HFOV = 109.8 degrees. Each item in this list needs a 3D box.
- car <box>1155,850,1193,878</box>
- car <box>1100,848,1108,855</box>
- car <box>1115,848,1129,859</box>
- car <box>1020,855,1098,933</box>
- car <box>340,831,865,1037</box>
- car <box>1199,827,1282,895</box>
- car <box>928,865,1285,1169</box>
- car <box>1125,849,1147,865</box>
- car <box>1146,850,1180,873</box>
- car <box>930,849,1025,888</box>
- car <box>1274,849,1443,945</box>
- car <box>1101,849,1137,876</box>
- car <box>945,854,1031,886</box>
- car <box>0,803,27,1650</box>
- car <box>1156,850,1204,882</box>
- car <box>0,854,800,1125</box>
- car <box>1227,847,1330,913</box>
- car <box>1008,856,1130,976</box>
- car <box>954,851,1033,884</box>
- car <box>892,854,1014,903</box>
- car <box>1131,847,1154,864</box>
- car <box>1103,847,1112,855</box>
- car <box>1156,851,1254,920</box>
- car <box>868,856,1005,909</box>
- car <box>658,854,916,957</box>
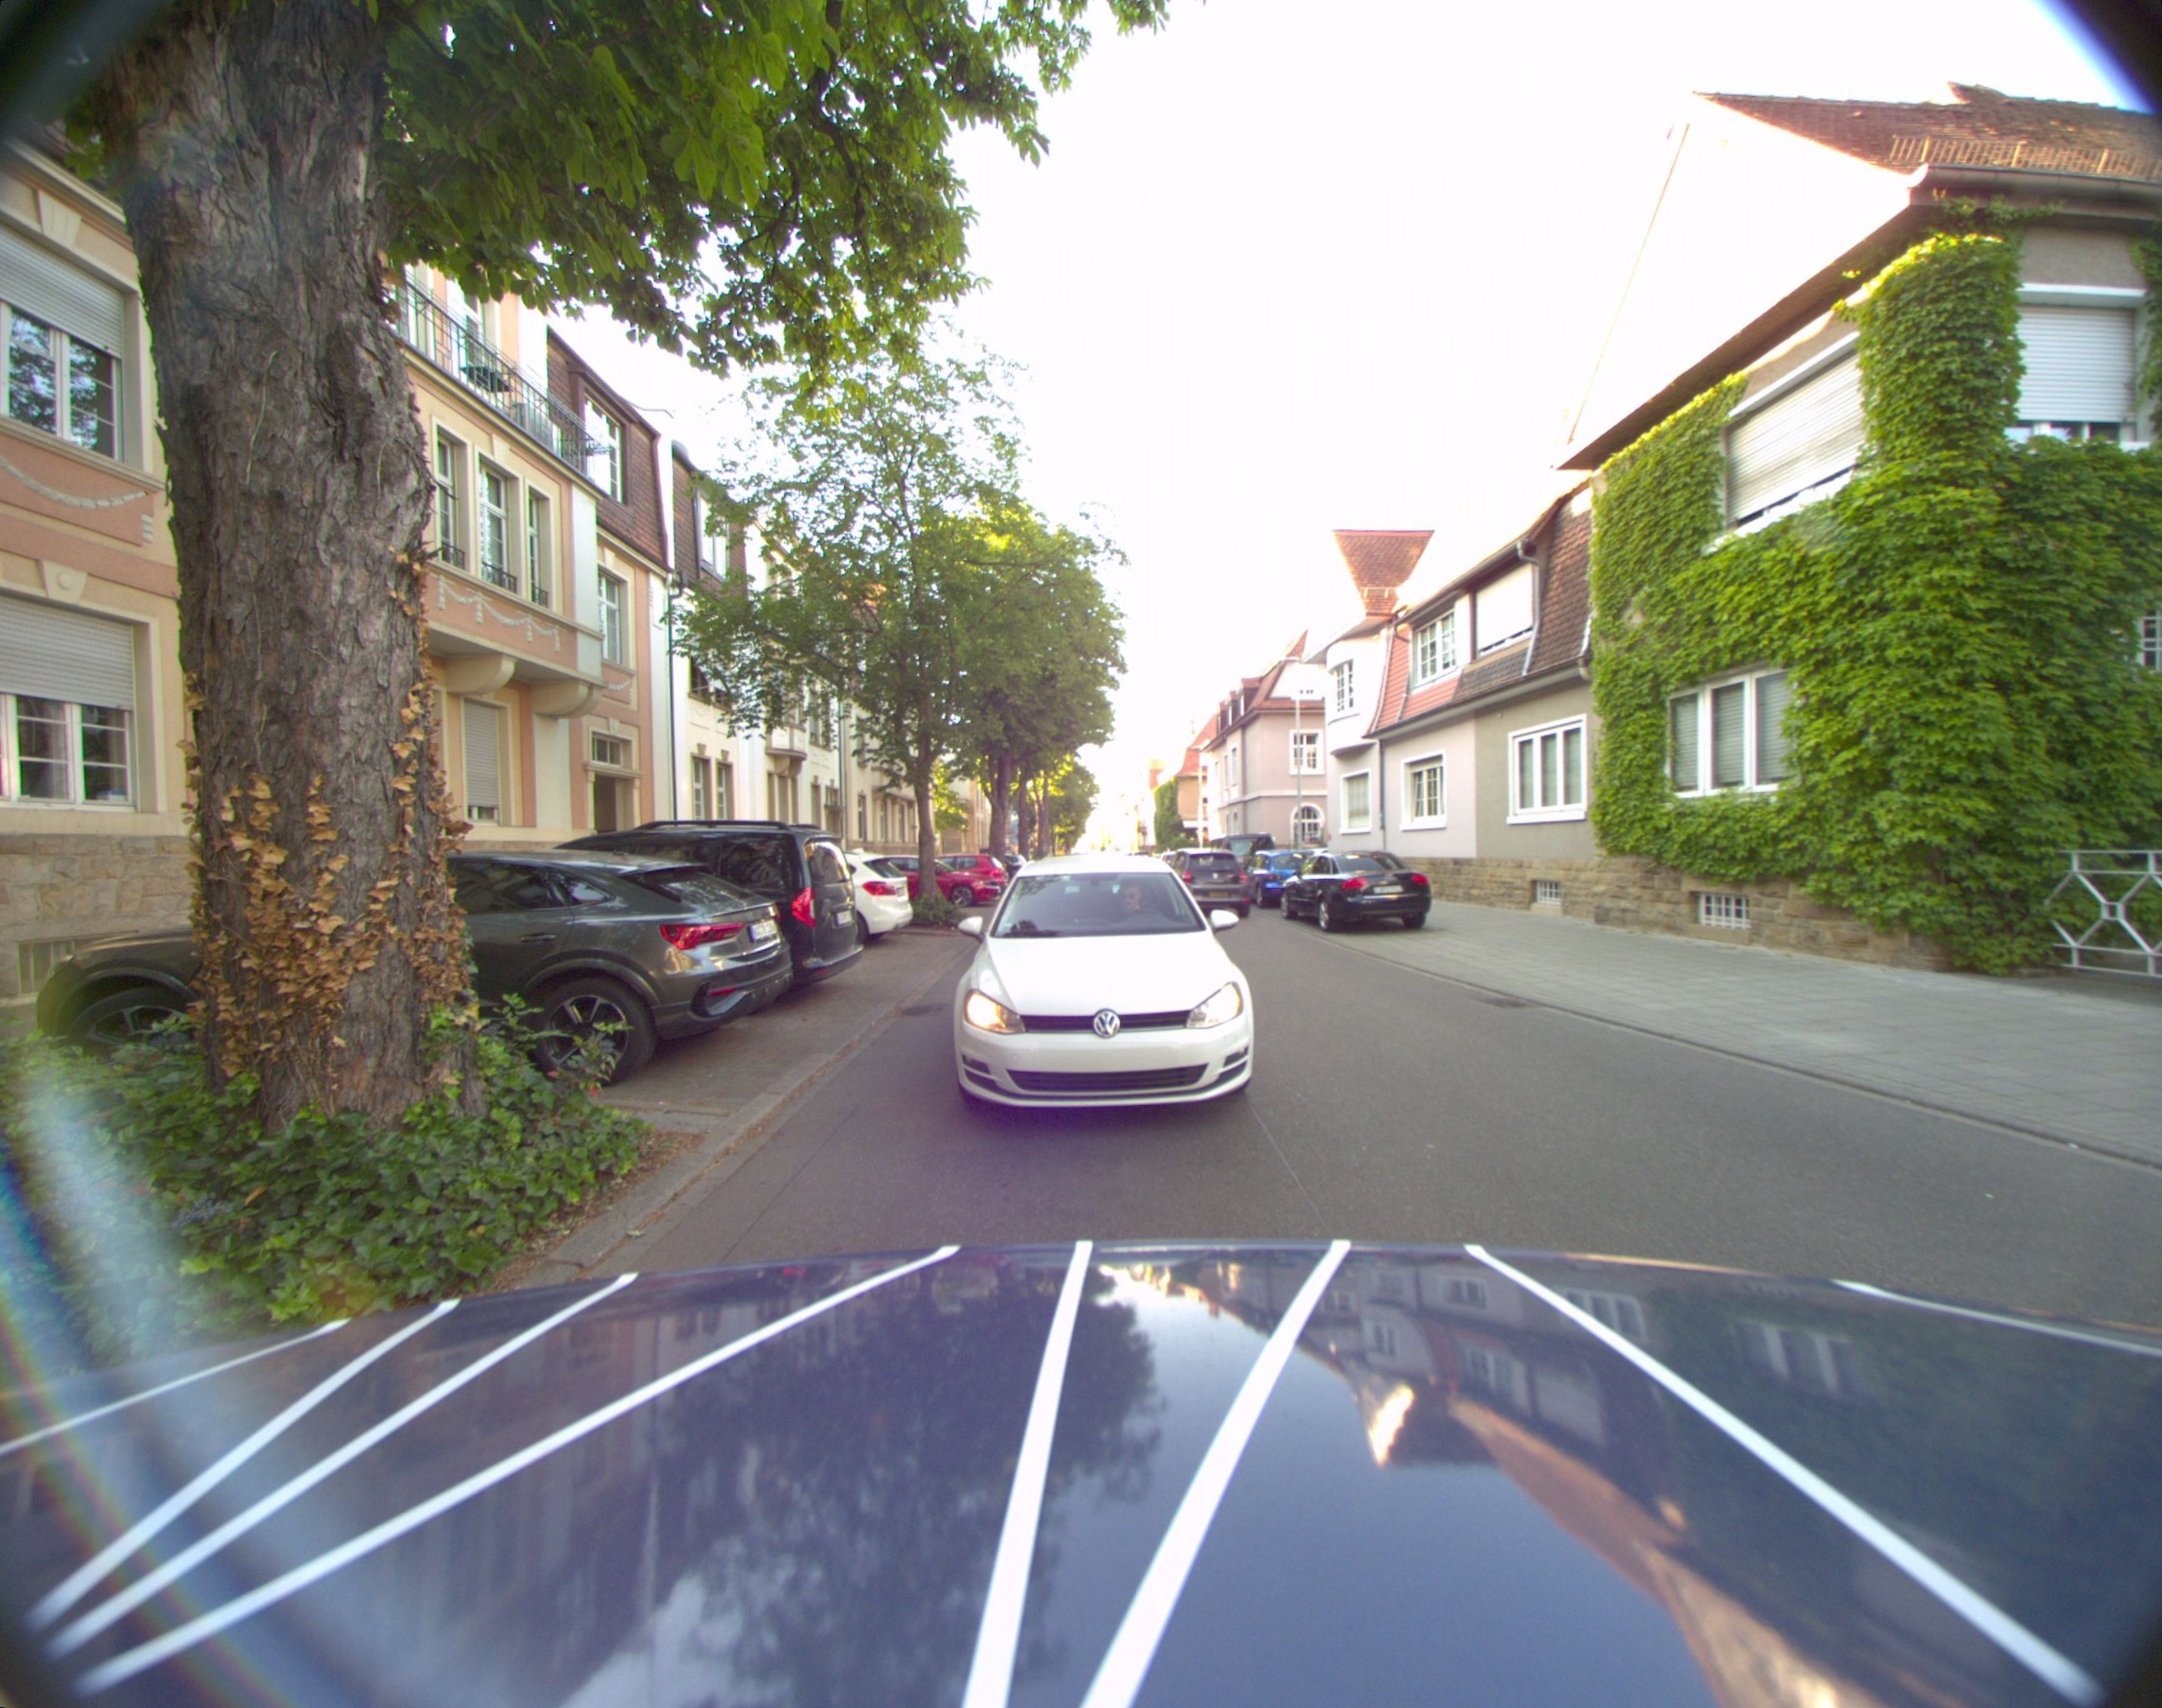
[{"bbox_3d":[5.129,0.526,42.209,1.541,1.363,3.945,-3,0,0],"label":"car"},{"bbox_3d":[5.148,-0.565,173.140,1.643,1.461,3.689,-3,1,0],"label":"car"},{"bbox_3d":[5.456,-0.071,100.802,1.643,1.461,3.689,-3,1,0],"label":"car"},{"bbox_3d":[-0.418,0.805,17.153,1.560,1.546,3.738,1,0,1],"label":"car"},{"bbox_3d":[-4.464,0.711,7.618,4.173,1.816,1.594,1,1,-4],"label":"car"},{"bbox_3d":[5.220,0.185,25.432,1.719,1.961,4.310,-4,1,0],"label":"car"},{"bbox_3d":[0.097,0.872,5.952,1.799,1.420,4.023,-2,0,-1],"label":"car"},{"bbox_3d":[5.419,0.275,75.336,1.643,1.461,3.688,-3,1,-4],"label":"car"},{"bbox_3d":[5.447,0.455,50.723,1.719,1.363,3.945,-3,0,0],"label":"car"},{"bbox_3d":[-4.169,0.572,30.967,3.622,1.555,1.537,0,1,0],"label":"car"},{"bbox_3d":[5.079,0.697,14.516,1.751,1.421,4.023,-4,1,1],"label":"car"},{"bbox_3d":[2.177,0.500,44.623,1.786,1.453,4.299,1,0,-1],"label":"car"},{"bbox_3d":[-4.138,0.717,34.095,3.622,1.395,1.537,0,1,0],"label":"car"},{"bbox_3d":[-4.661,0.796,0.540,4.835,1.814,1.880,1,1,-4],"label":"car"},{"bbox_3d":[4.794,0.548,37.322,1.719,1.363,4.334,-3,0,0],"label":"car"},{"bbox_3d":[-4.387,0.824,5.436,4.173,1.583,1.594,1,1,-4],"label":"car"},{"bbox_3d":[5.157,0.600,20.356,1.611,1.455,4.023,-4,1,0],"label":"car"},{"bbox_3d":[-0.137,0.834,12.093,1.600,1.546,4.000,1,0,1],"label":"car"},{"bbox_3d":[-4.198,0.635,36.874,3.622,1.555,1.537,0,1,0],"label":"car"},{"bbox_3d":[-4.041,0.760,24.364,3.622,1.456,1.537,1,1,0],"label":"car"},{"bbox_3d":[5.491,0.120,68.297,1.643,1.461,3.945,-3,0,0],"label":"car"},{"bbox_3d":[5.237,-0.578,149.436,1.643,1.461,3.689,-3,1,0],"label":"car"},{"bbox_3d":[2.872,0.681,18.358,1.620,1.493,3.591,1,1,-3],"label":"car"},{"bbox_3d":[-4.084,0.794,21.809,3.622,1.395,1.537,1,1,0],"label":"car"},{"bbox_3d":[-4.660,0.799,12.427,3.623,1.541,1.537,1,1,-4],"label":"car"}]
